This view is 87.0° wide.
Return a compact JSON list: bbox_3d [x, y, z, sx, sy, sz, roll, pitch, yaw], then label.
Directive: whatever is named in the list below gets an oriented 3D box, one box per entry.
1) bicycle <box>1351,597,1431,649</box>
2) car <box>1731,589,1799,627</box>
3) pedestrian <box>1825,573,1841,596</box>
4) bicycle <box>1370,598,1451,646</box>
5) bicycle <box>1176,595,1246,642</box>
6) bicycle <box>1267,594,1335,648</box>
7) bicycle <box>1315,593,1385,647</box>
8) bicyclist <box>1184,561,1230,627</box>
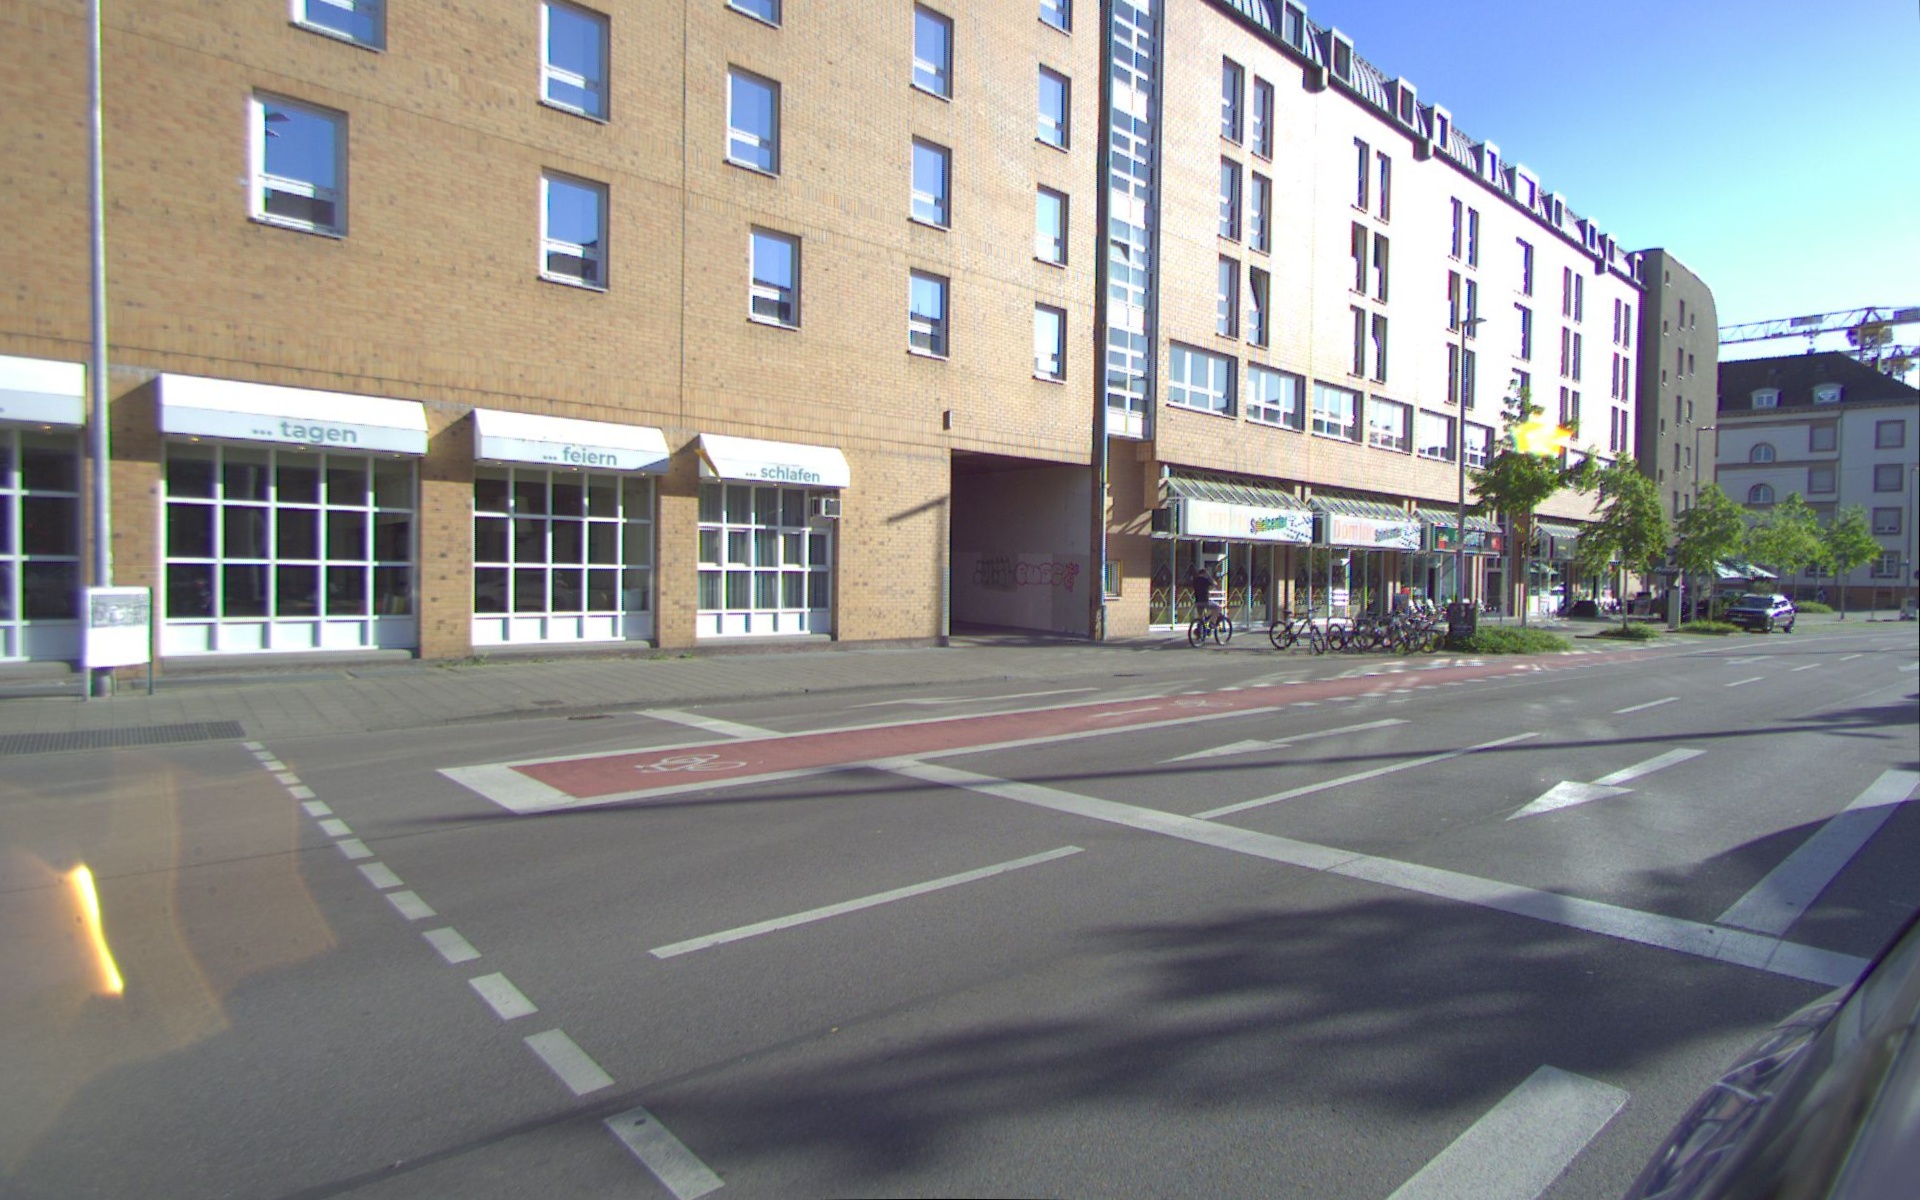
[{"bbox_3d":[10.806,0.554,25.433,0.543,1.155,1.775,-2,4,-38],"label":"bicycle"},{"bbox_3d":[34.769,0.319,43.684,3.628,1.549,1.654,-1,1,-41],"label":"car"},{"bbox_3d":[65.237,-1.182,75.605,0.802,1.686,0.877,2,2,43],"label":"pedestrian"},{"bbox_3d":[11.676,0.547,26.274,0.724,1.084,1.775,-2,4,-38],"label":"bicycle"},{"bbox_3d":[6.231,0.442,25.058,1.847,1.062,0.603,0,6,-38],"label":"bicycle"},{"bbox_3d":[8.219,0.488,24.468,0.541,1.162,1.781,0,4,-20],"label":"bicycle"},{"bbox_3d":[9.583,0.473,24.949,0.541,1.162,1.781,0,4,-20],"label":"bicycle"},{"bbox_3d":[6.062,-0.144,24.852,0.834,1.533,0.581,1,5,-38],"label":"bicyclist"}]
